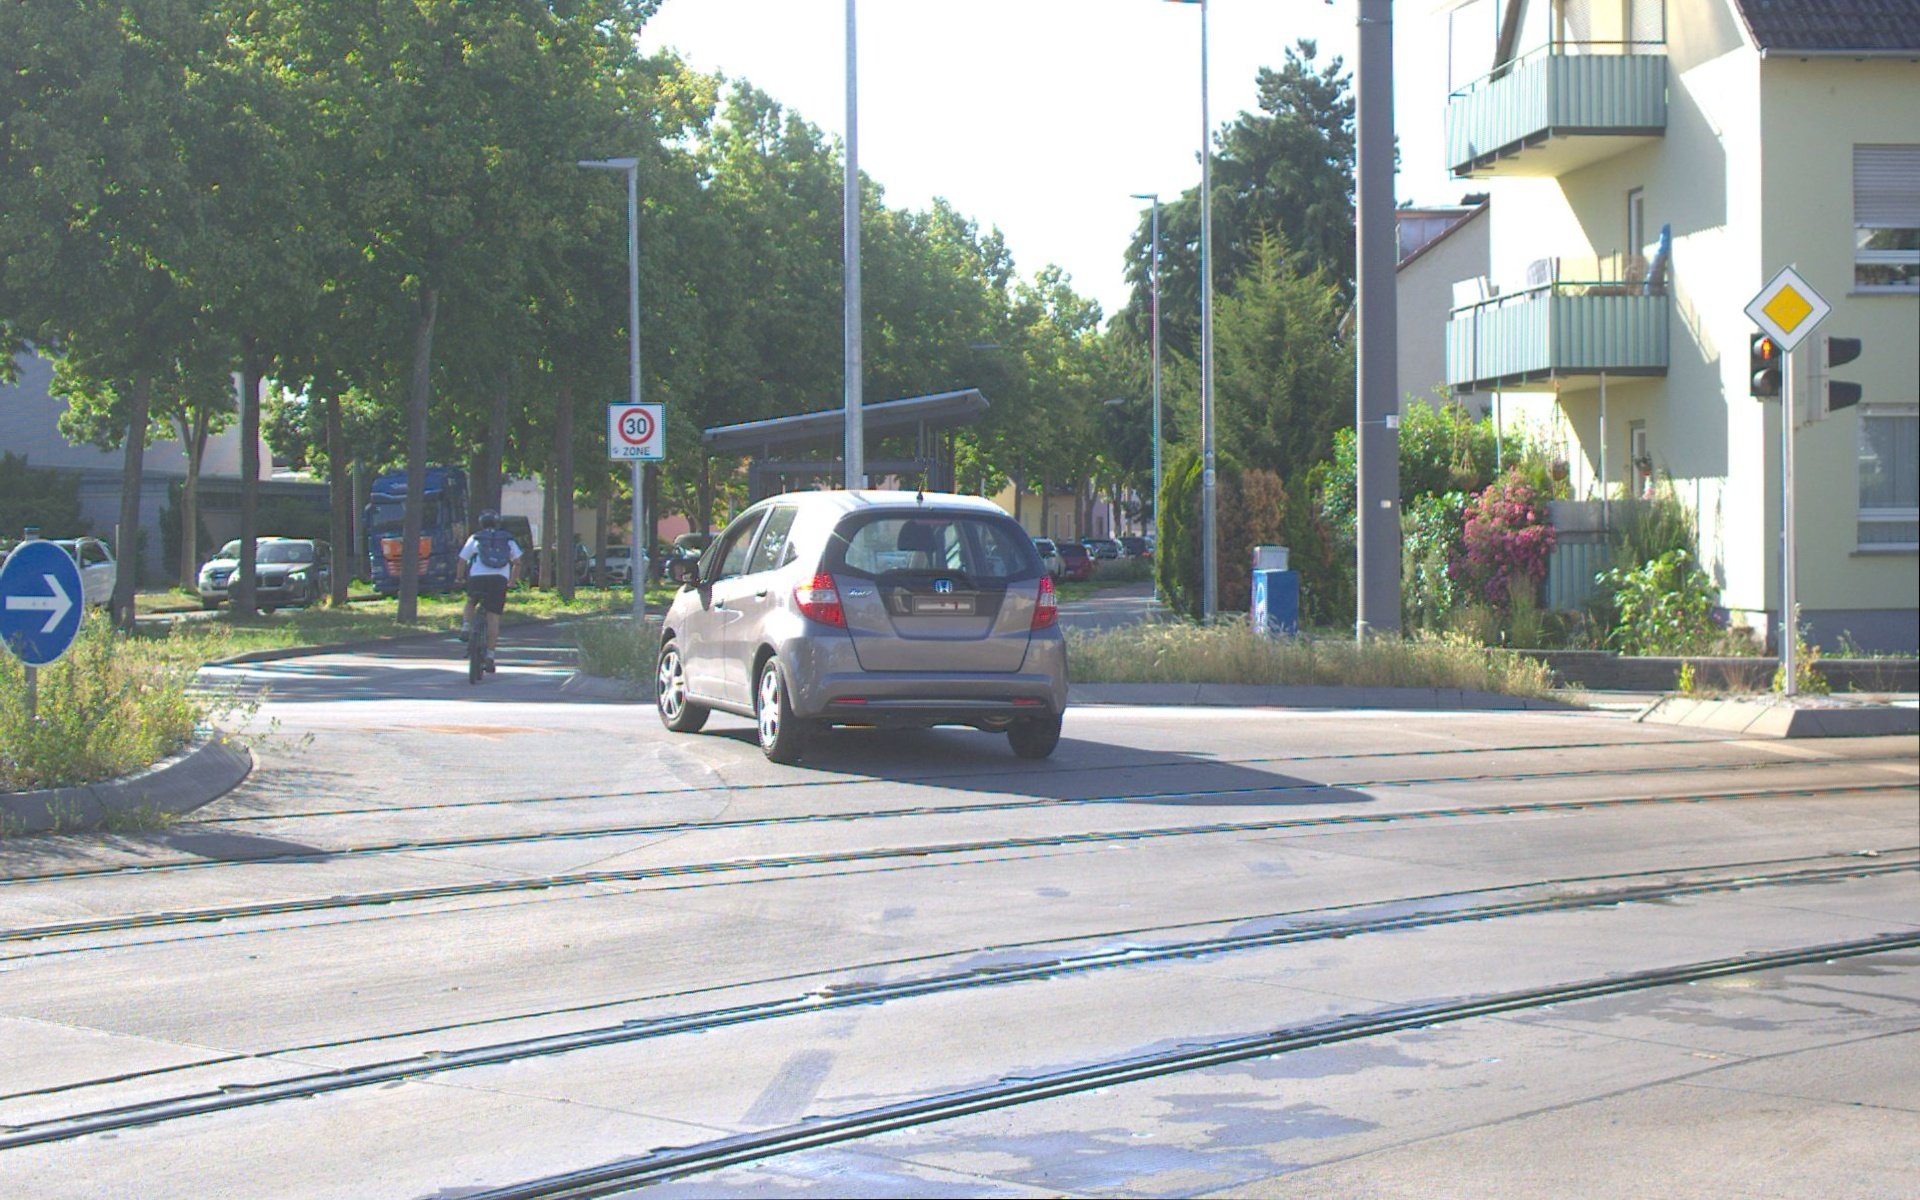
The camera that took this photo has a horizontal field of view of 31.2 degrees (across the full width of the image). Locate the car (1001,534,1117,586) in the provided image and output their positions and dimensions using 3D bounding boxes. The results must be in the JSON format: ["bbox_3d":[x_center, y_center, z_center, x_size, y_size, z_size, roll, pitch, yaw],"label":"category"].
[{"bbox_3d":[2.995,-1.218,104.656,3.479,1.488,1.552,1,1,1],"label":"car"}]

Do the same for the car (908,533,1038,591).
[{"bbox_3d":[0.371,-1.050,94.341,3.412,1.528,1.525,0,1,5],"label":"car"}]

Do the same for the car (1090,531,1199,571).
[{"bbox_3d":[6.099,-1.627,114.007,3.517,1.275,1.577,1,1,1],"label":"car"}]

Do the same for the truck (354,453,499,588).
[{"bbox_3d":[-16.513,-2.480,106.929,3.069,3.979,8.009,1,1,1],"label":"truck"}]

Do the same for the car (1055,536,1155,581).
[{"bbox_3d":[5.223,-1.493,123.982,3.517,1.528,1.577,1,1,1],"label":"car"}]

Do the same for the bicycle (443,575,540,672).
[{"bbox_3d":[-5.105,0.266,37.402,0.766,1.033,1.534,0,-1,-19],"label":"bicycle"}]

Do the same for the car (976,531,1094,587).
[{"bbox_3d":[2.169,-1.194,99.894,3.359,1.528,1.523,1,1,1],"label":"car"}]

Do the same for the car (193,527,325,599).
[{"bbox_3d":[-18.160,-0.973,89.313,1.994,1.766,5.059,1,1,5],"label":"car"}]

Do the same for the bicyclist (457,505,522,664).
[{"bbox_3d":[-5.161,-0.167,37.714,0.602,1.708,0.544,0,-3,-19],"label":"bicyclist"}]

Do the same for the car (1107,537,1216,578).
[{"bbox_3d":[6.648,-1.419,113.889,3.517,1.291,1.577,1,1,1],"label":"car"}]

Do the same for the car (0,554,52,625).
[{"bbox_3d":[-19.376,-0.240,67.985,1.961,1.319,4.001,1,1,-3],"label":"car"}]

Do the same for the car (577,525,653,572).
[{"bbox_3d":[-12.792,-1.915,127.617,1.994,1.694,4.217,1,1,6],"label":"car"}]

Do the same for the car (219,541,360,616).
[{"bbox_3d":[-14.682,-0.493,75.483,1.831,1.575,4.440,1,1,5],"label":"car"}]

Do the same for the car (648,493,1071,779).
[{"bbox_3d":[-0.701,0.130,20.537,1.687,1.485,3.916,-1,3,-15],"label":"car"}]

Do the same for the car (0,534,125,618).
[{"bbox_3d":[-19.220,-0.530,72.790,1.993,1.694,4.218,1,1,1],"label":"car"}]

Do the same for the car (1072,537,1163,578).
[{"bbox_3d":[6.157,-1.666,134.595,3.517,1.528,1.577,1,1,1],"label":"car"}]
